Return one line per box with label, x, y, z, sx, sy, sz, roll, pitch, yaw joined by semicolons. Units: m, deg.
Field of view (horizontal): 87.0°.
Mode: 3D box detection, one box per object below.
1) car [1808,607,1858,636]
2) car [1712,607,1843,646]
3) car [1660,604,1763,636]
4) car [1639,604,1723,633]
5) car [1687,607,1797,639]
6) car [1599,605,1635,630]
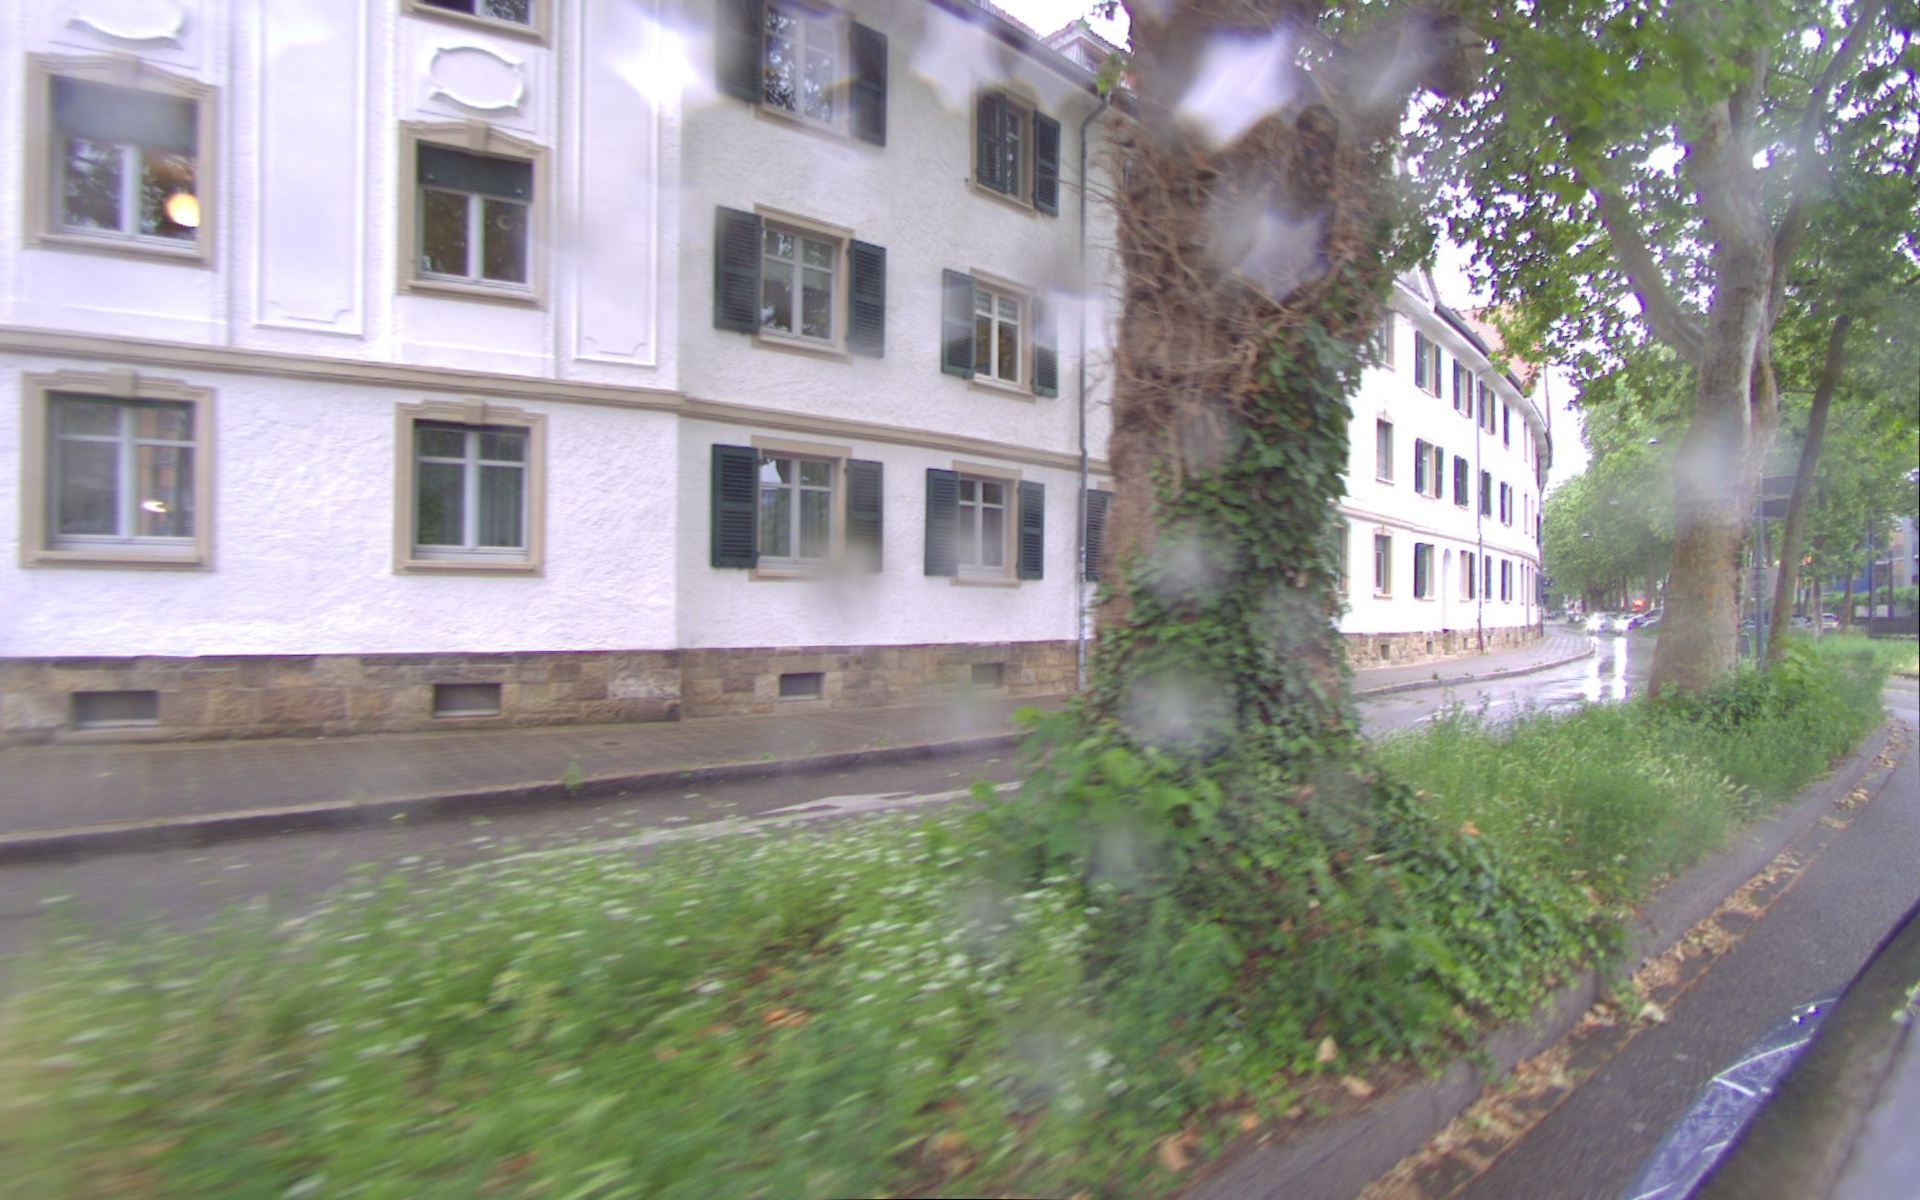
car;56.677;1.394;65.761;1.678;1.745;3.655;2;1;28
car;37.374;1.173;46.362;1.892;1.560;4.236;1;1;-30
car;42.533;1.106;57.350;1.715;1.633;4.335;1;1;-34
car;55.918;1.408;78.601;1.960;2.039;4.899;1;1;-30
car;41.799;1.195;54.201;1.713;1.526;4.340;1;1;-28
car;44.617;1.191;68.787;1.837;1.616;4.169;1;0;31
